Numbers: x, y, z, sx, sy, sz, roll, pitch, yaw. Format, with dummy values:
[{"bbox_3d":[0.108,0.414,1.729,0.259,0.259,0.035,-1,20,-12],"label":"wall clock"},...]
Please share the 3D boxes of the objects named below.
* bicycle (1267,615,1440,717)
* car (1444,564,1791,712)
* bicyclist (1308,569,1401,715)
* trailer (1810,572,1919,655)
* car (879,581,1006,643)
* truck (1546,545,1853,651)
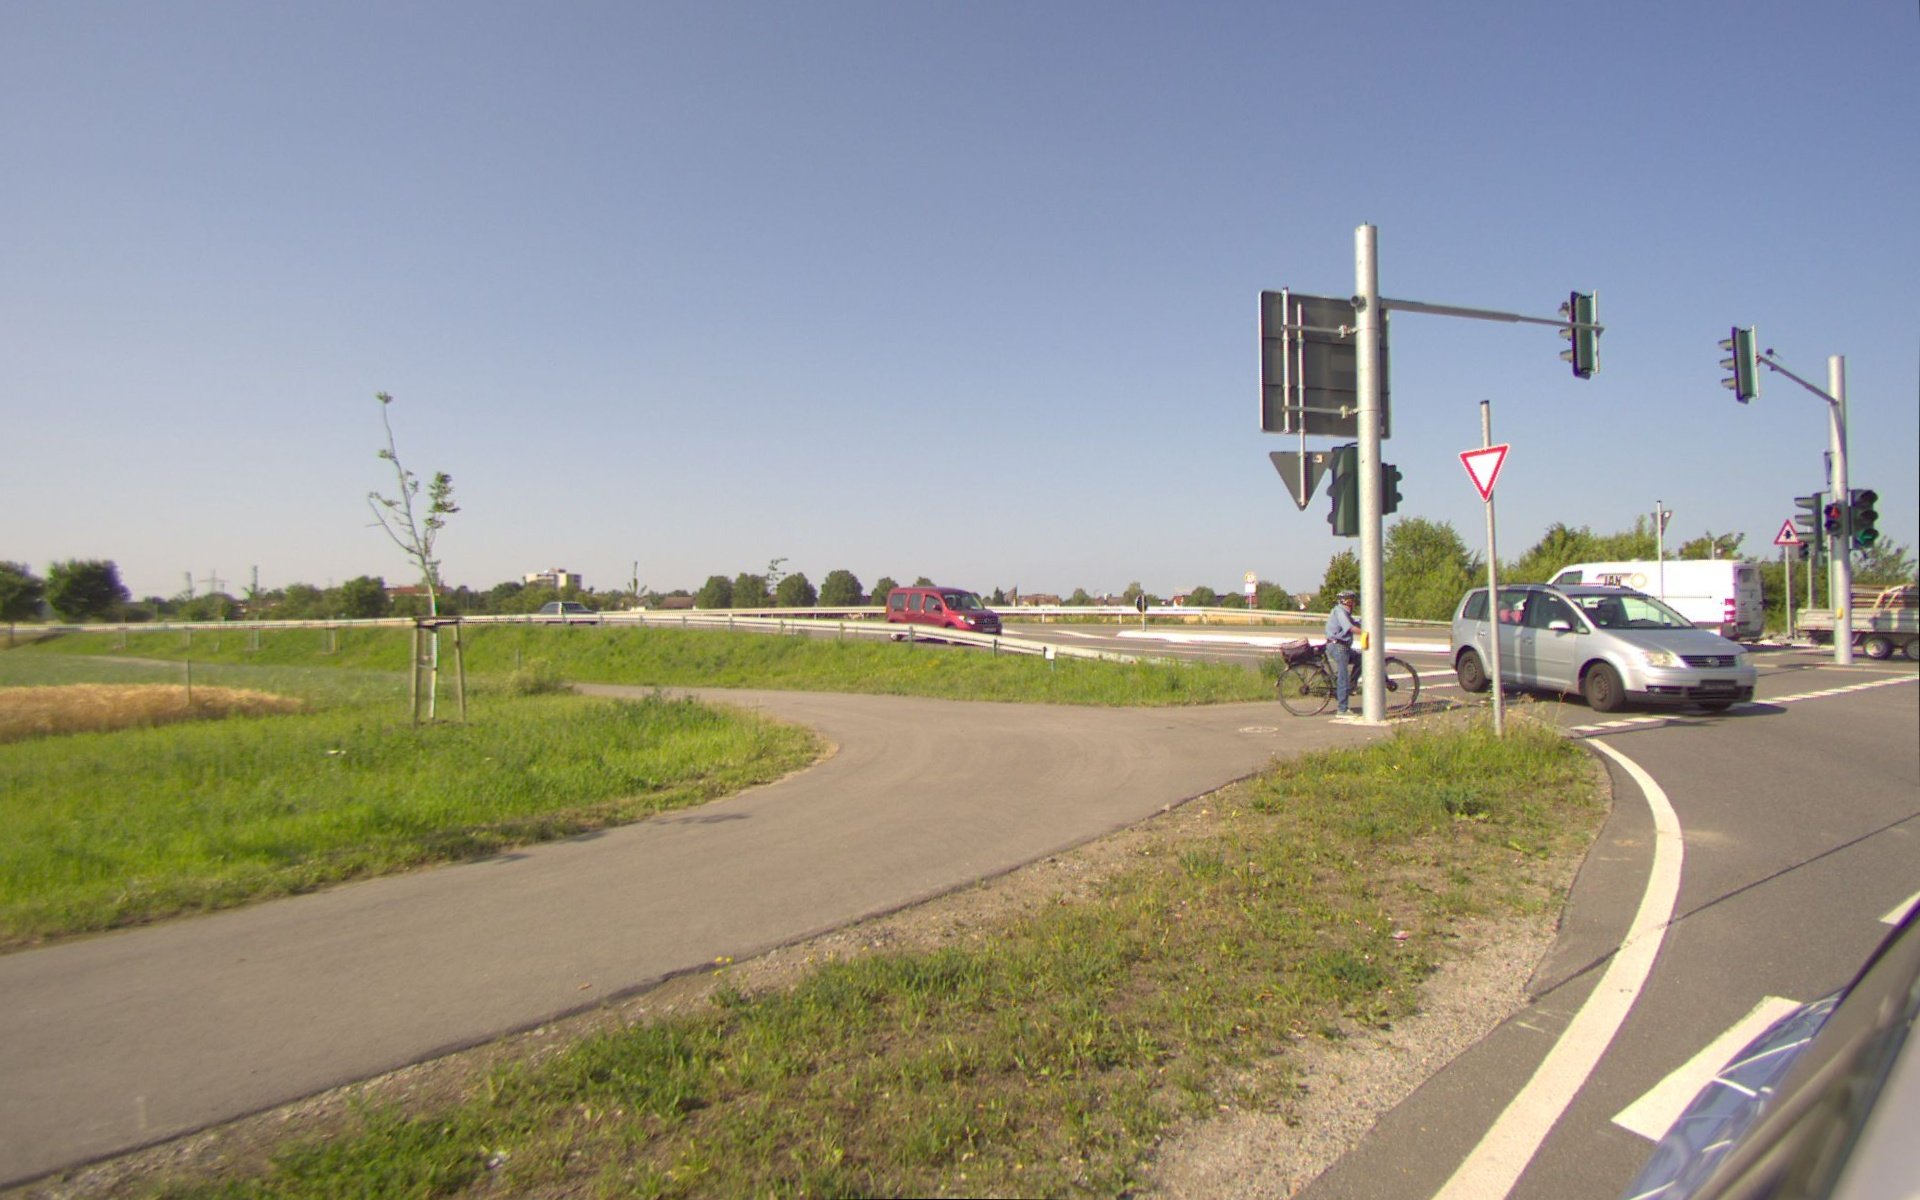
[{"bbox_3d":[5.038,0.842,13.065,1.914,1.165,0.679,-4,0,11],"label":"bicycle"},{"bbox_3d":[8.813,0.436,14.093,1.721,1.716,4.220,-1,0,-7],"label":"car"},{"bbox_3d":[5.071,0.525,13.061,0.903,1.787,0.618,-4,0,11],"label":"bicyclist"},{"bbox_3d":[21.314,0.283,21.259,1.939,1.760,5.023,0,1,-18],"label":"trailer"},{"bbox_3d":[-0.656,0.368,32.683,1.662,1.860,4.695,0,0,-37],"label":"car"},{"bbox_3d":[19.055,-0.083,26.507,2.031,2.435,6.202,0,1,-32],"label":"truck"}]
